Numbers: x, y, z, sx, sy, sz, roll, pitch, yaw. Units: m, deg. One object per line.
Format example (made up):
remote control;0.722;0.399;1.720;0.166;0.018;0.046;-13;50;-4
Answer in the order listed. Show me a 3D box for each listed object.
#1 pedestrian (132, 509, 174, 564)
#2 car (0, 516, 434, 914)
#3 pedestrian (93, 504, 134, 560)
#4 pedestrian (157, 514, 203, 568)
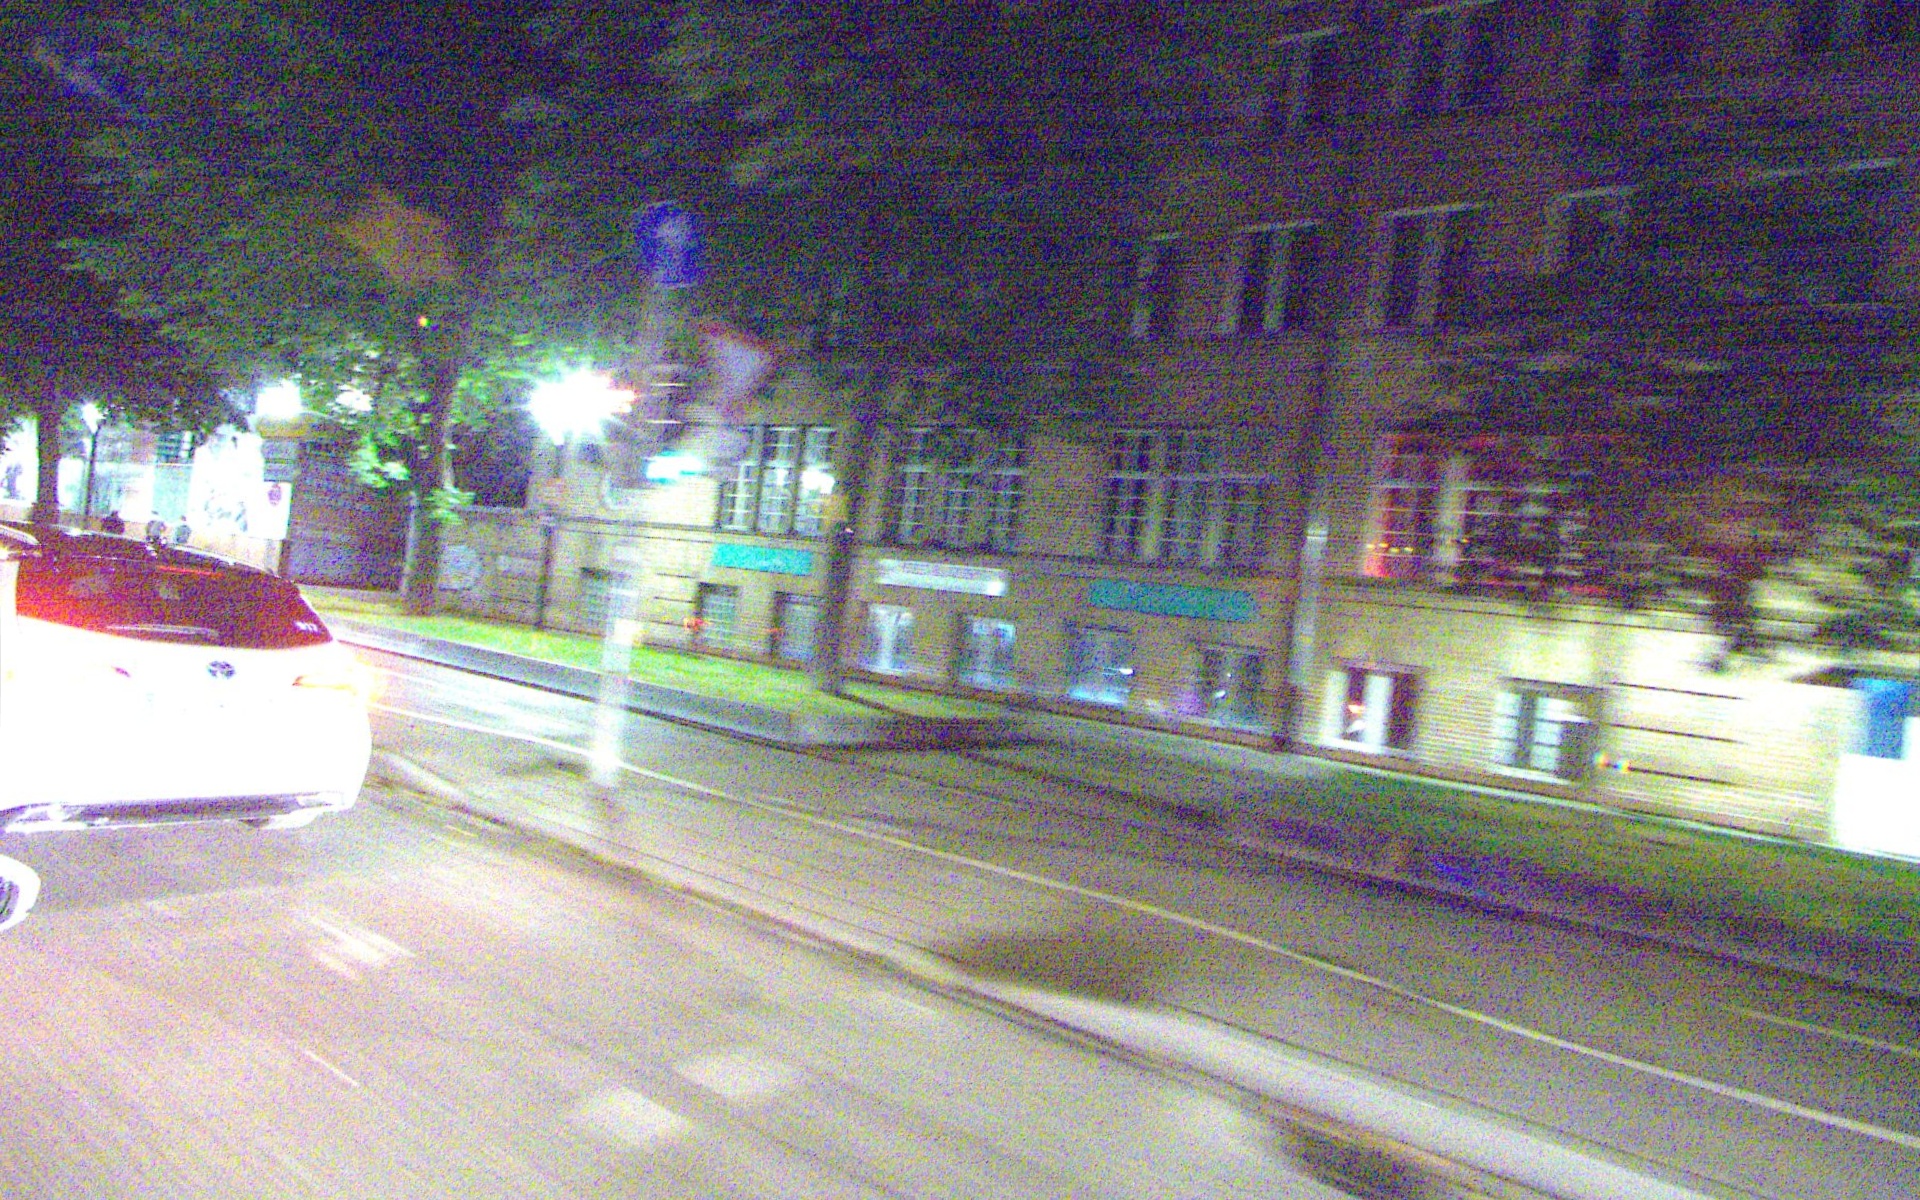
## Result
pedestrian;-28.116;-2.213;35.055;0.892;1.791;0.739;7;1;32
car;-4.924;0.315;5.334;4.140;1.451;1.734;6;-3;31
pedestrian;-28.935;-2.328;34.395;0.892;1.791;0.715;7;1;32
pedestrian;-28.094;-2.134;36.234;0.892;1.791;0.902;7;0;32
